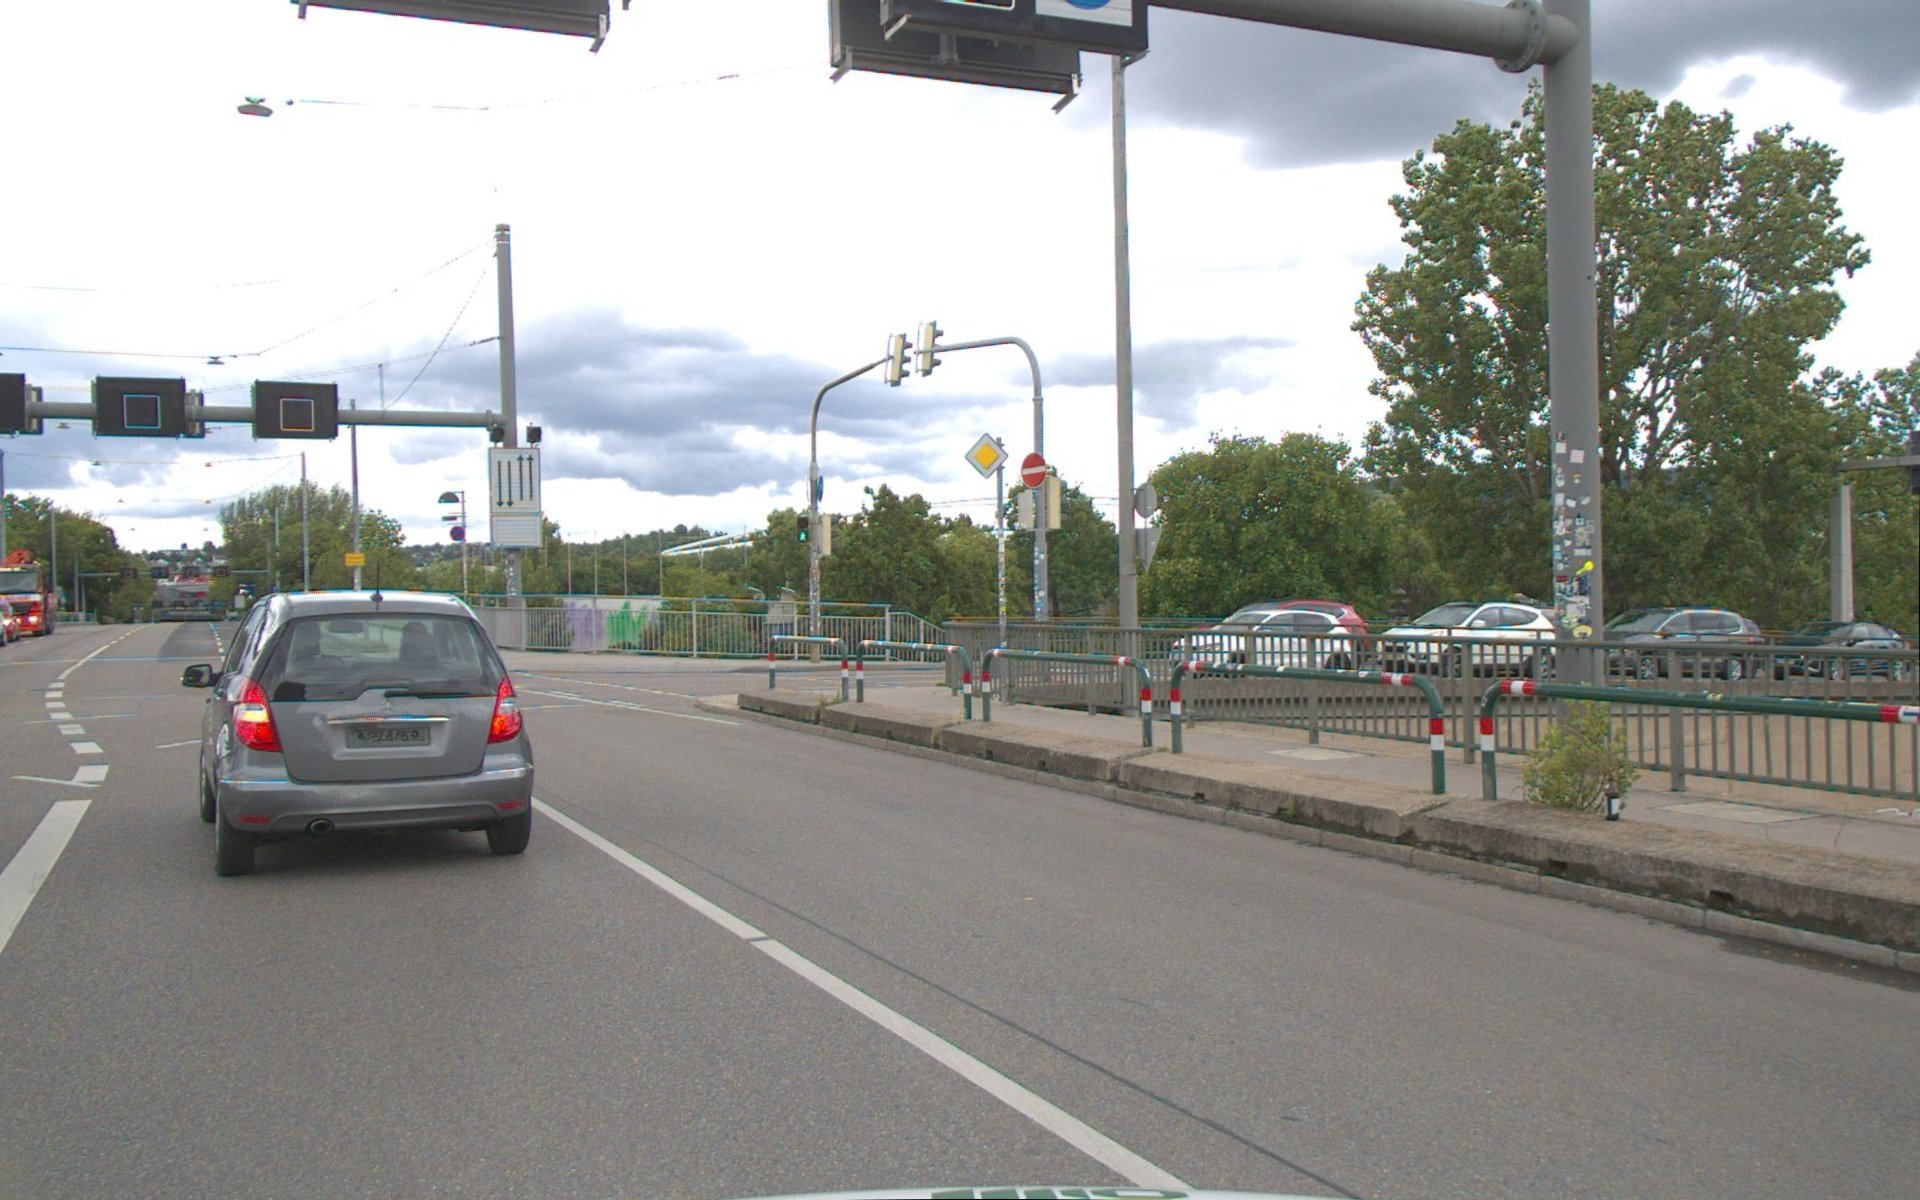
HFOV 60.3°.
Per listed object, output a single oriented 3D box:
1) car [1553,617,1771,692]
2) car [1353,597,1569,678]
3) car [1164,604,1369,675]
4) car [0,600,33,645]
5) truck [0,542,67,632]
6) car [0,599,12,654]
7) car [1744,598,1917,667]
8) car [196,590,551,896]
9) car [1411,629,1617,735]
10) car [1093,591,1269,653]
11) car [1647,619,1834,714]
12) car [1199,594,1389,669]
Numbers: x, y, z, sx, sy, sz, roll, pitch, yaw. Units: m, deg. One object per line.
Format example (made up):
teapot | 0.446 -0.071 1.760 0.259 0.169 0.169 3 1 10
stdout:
car | 16.301 1.256 38.361 4.887 1.648 1.983 1 -2 -27
car | 10.756 0.809 35.505 4.276 1.648 1.983 1 -2 -26
car | 6.053 0.777 32.670 3.707 1.336 1.775 1 -2 -27
car | -36.526 0.842 62.898 1.857 1.630 3.983 -3 1 -25
truck | -41.067 -0.537 72.238 2.969 3.627 9.901 -3 1 -25
car | -32.884 0.903 55.072 1.857 1.791 4.763 -3 1 -25
car | 21.971 0.828 41.742 3.939 1.646 1.982 1 -2 -27
car | -3.956 0.739 10.751 1.724 1.577 3.838 -1 0 -27
car | 13.380 1.910 39.936 4.478 2.048 2.194 -4 2 -27
car | 5.404 0.558 40.386 4.093 1.445 1.680 1 -2 -29
car | 20.737 1.713 43.947 4.478 2.048 2.194 -4 2 -27
car | 7.346 0.709 36.308 3.949 1.567 1.680 1 -2 -28
